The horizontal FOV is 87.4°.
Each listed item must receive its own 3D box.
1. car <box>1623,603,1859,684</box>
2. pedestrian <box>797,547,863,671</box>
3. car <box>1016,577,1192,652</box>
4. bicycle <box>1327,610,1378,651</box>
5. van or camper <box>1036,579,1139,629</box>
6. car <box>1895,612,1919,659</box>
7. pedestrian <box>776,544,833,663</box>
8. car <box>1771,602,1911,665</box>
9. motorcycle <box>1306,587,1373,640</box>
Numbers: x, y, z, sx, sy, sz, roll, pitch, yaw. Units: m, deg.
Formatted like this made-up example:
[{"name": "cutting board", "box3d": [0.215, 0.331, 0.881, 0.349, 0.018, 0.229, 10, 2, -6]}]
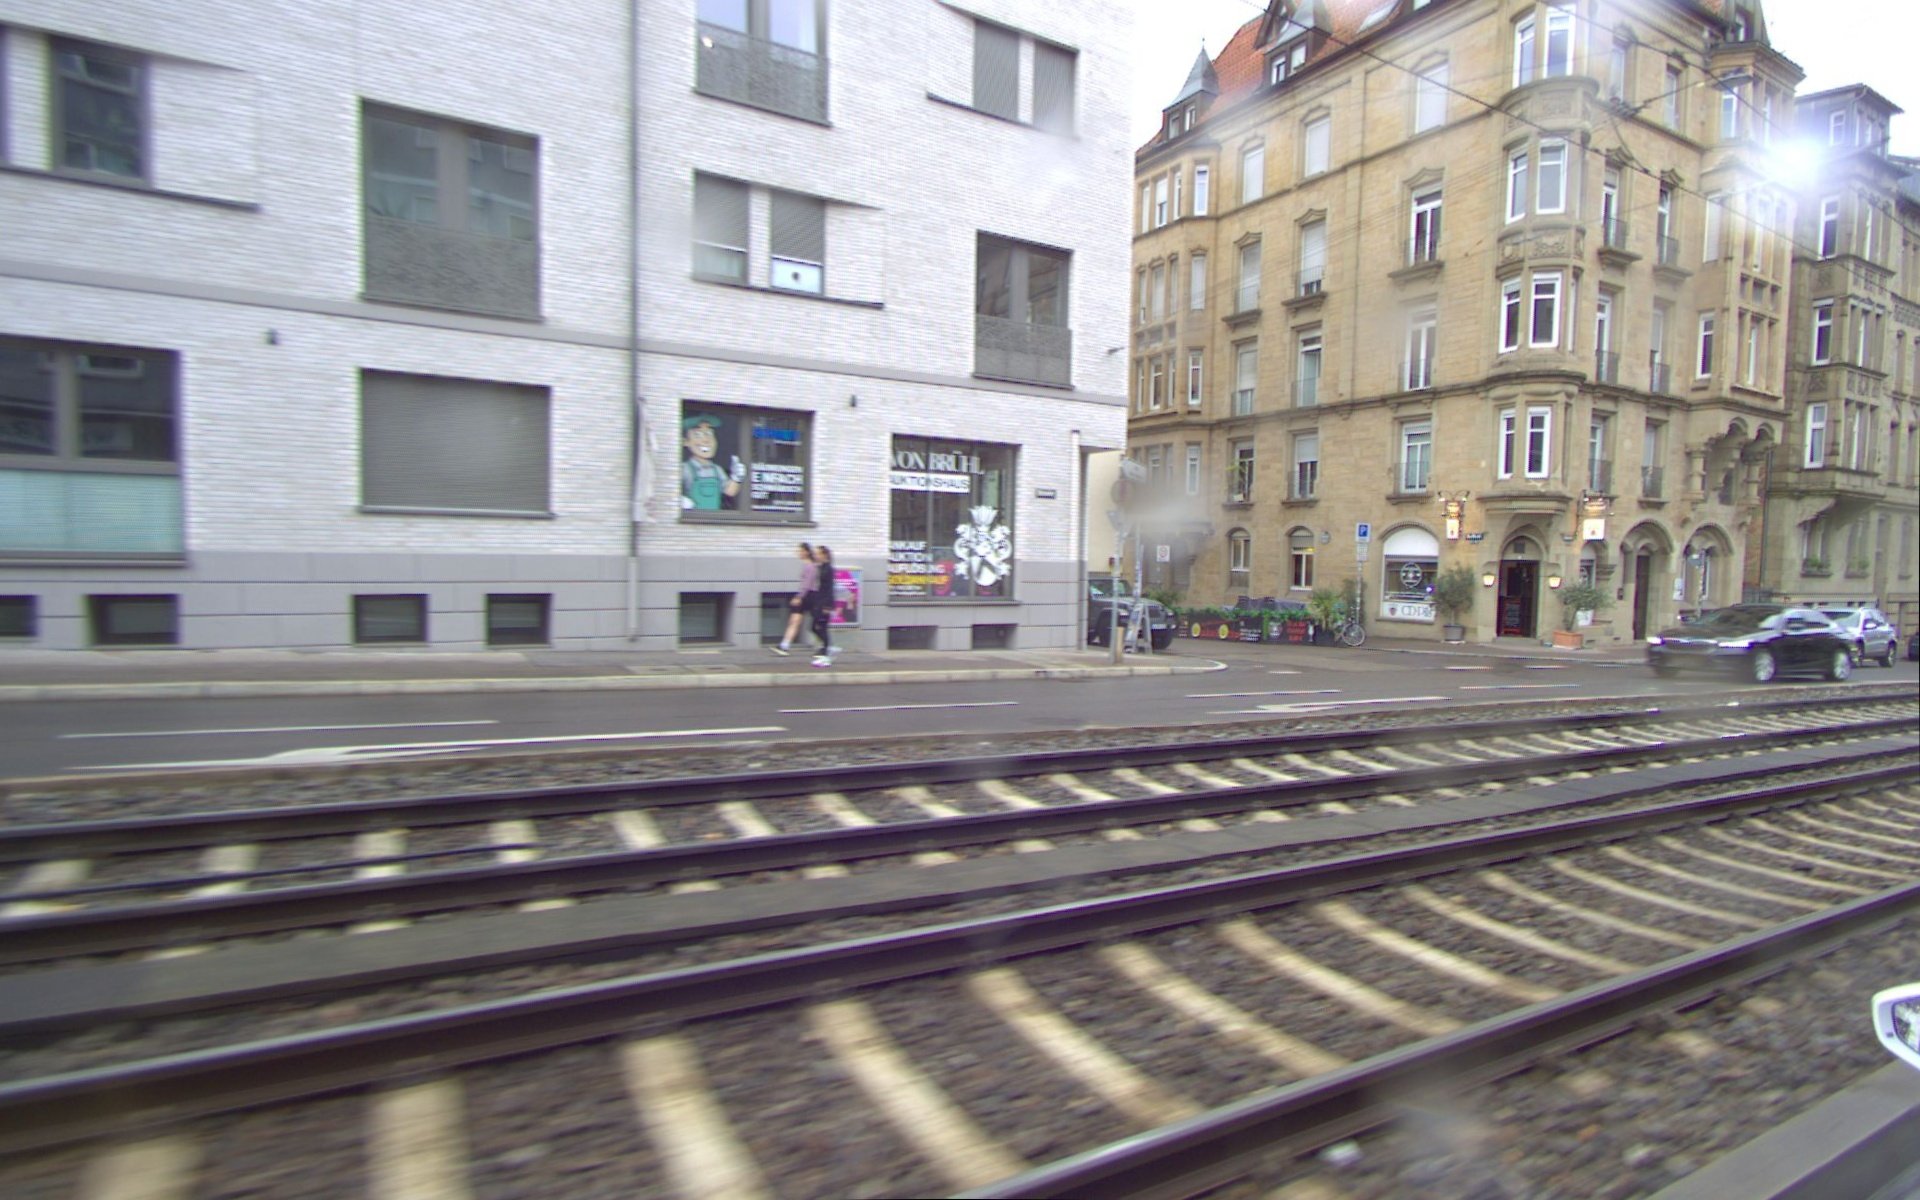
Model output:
[{"name": "car", "box3d": [15.989, 0.849, 20.525, 4.800, 1.477, 2.079, 1, 0, -29]}, {"name": "pedestrian", "box3d": [-1.896, 0.126, 14.613, 0.736, 1.741, 0.599, 1, 4, -28]}, {"name": "car", "box3d": [3.656, 0.323, 26.398, 2.013, 1.751, 4.664, 1, 1, -33]}, {"name": "bicycle", "box3d": [11.524, 0.877, 29.542, 0.608, 1.134, 2.137, 1, -1, -1]}, {"name": "van or camper", "box3d": [4.890, 0.166, 39.002, 1.921, 1.799, 3.932, 1, -1, -31]}, {"name": "car", "box3d": [33.631, 1.230, 33.957, 4.121, 1.528, 1.861, 1, 0, -31]}, {"name": "pedestrian", "box3d": [-2.367, 0.044, 15.271, 0.649, 1.741, 0.599, 1, 4, -28]}, {"name": "car", "box3d": [25.407, 0.936, 28.940, 4.267, 1.674, 1.848, 1, 0, -32]}, {"name": "motorcycle", "box3d": [12.093, 0.429, 32.064, 0.616, 1.641, 2.064, 1, 0, -32]}]
